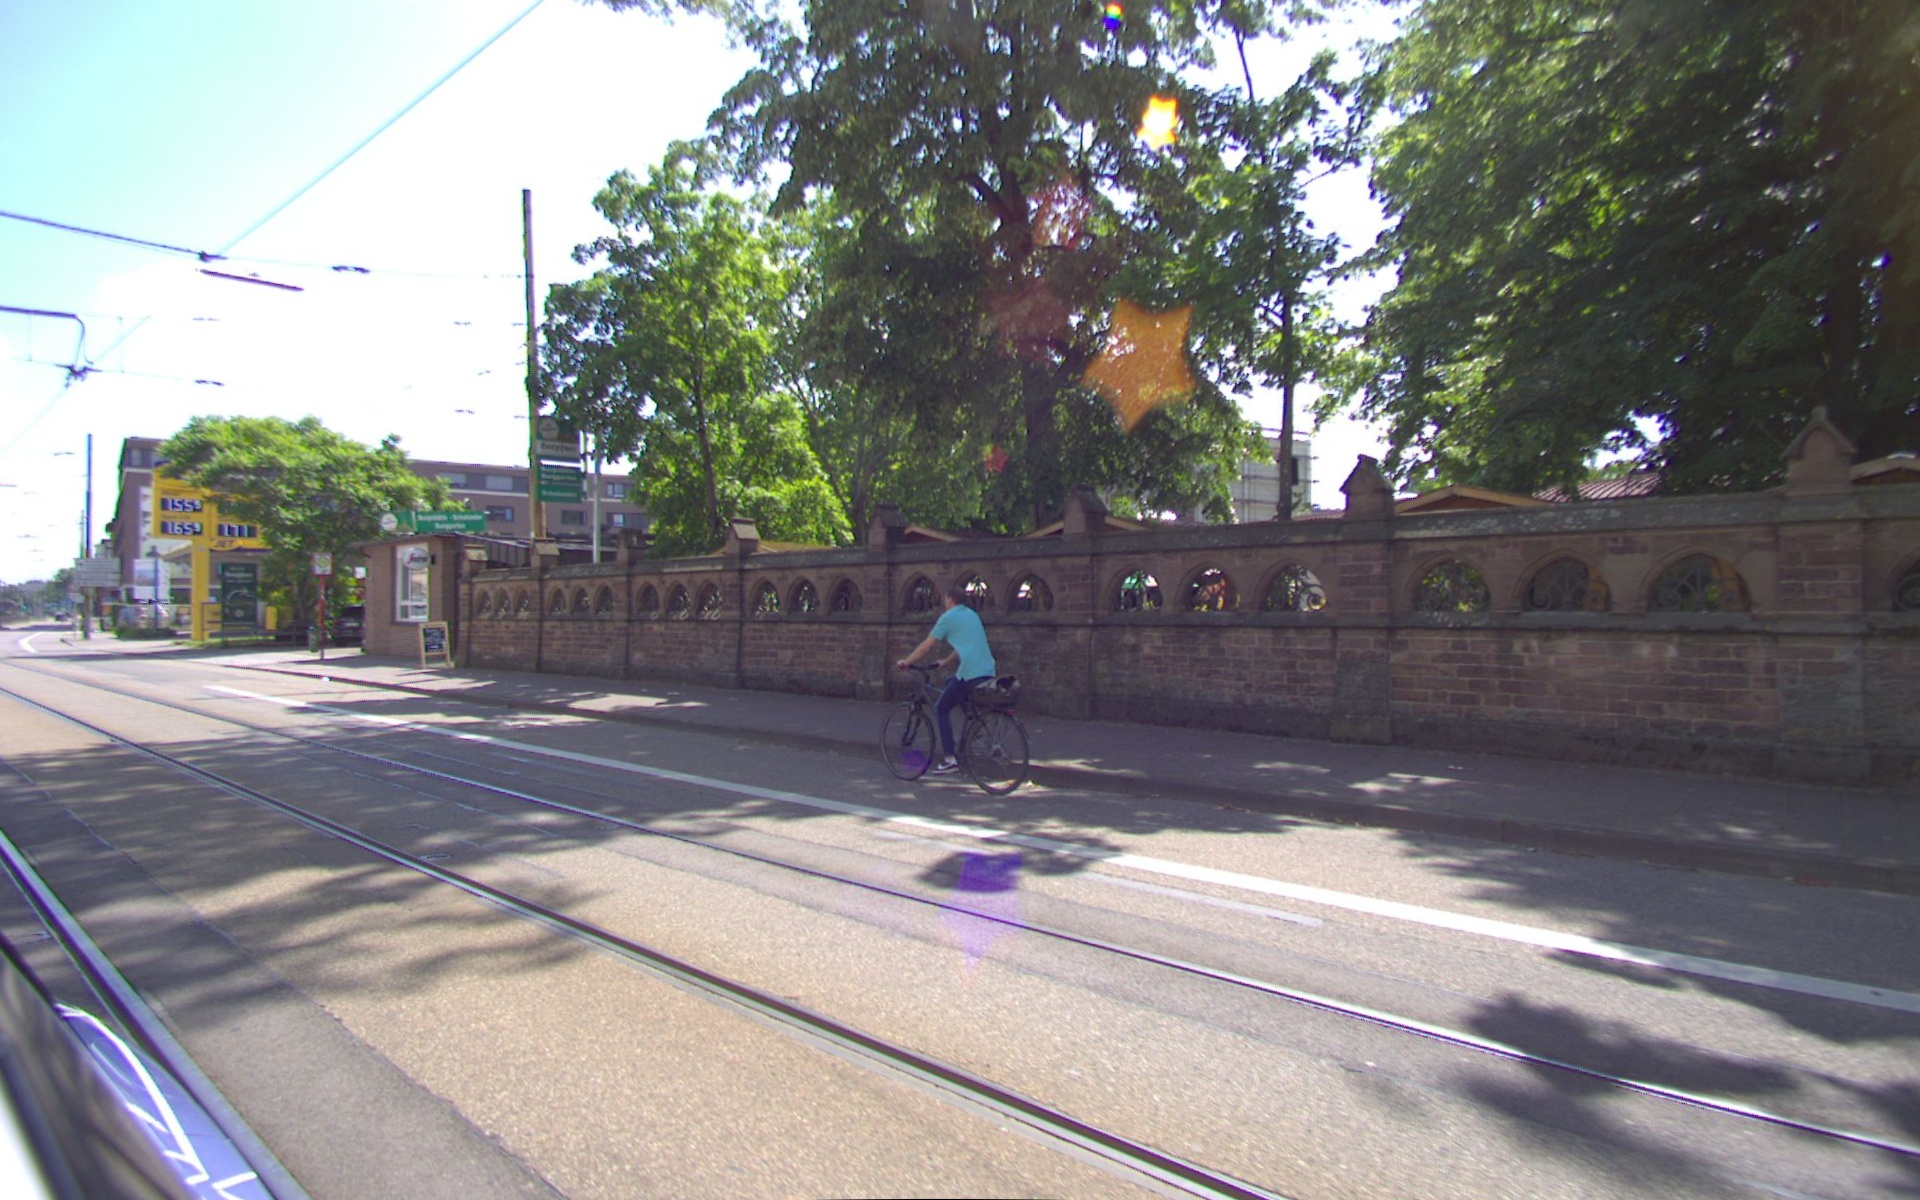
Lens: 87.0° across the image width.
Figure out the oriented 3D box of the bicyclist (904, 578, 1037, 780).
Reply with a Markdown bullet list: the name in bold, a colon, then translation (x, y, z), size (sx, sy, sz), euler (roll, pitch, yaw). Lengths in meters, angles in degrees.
- **bicyclist**: translation (0.093, 0.658, 8.765), size (0.919, 1.637, 0.656), euler (-1, -4, 41)

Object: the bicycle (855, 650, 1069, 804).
- **bicycle**: translation (-0.020, 1.045, 8.840), size (1.895, 1.172, 0.652), euler (-1, -3, 41)
